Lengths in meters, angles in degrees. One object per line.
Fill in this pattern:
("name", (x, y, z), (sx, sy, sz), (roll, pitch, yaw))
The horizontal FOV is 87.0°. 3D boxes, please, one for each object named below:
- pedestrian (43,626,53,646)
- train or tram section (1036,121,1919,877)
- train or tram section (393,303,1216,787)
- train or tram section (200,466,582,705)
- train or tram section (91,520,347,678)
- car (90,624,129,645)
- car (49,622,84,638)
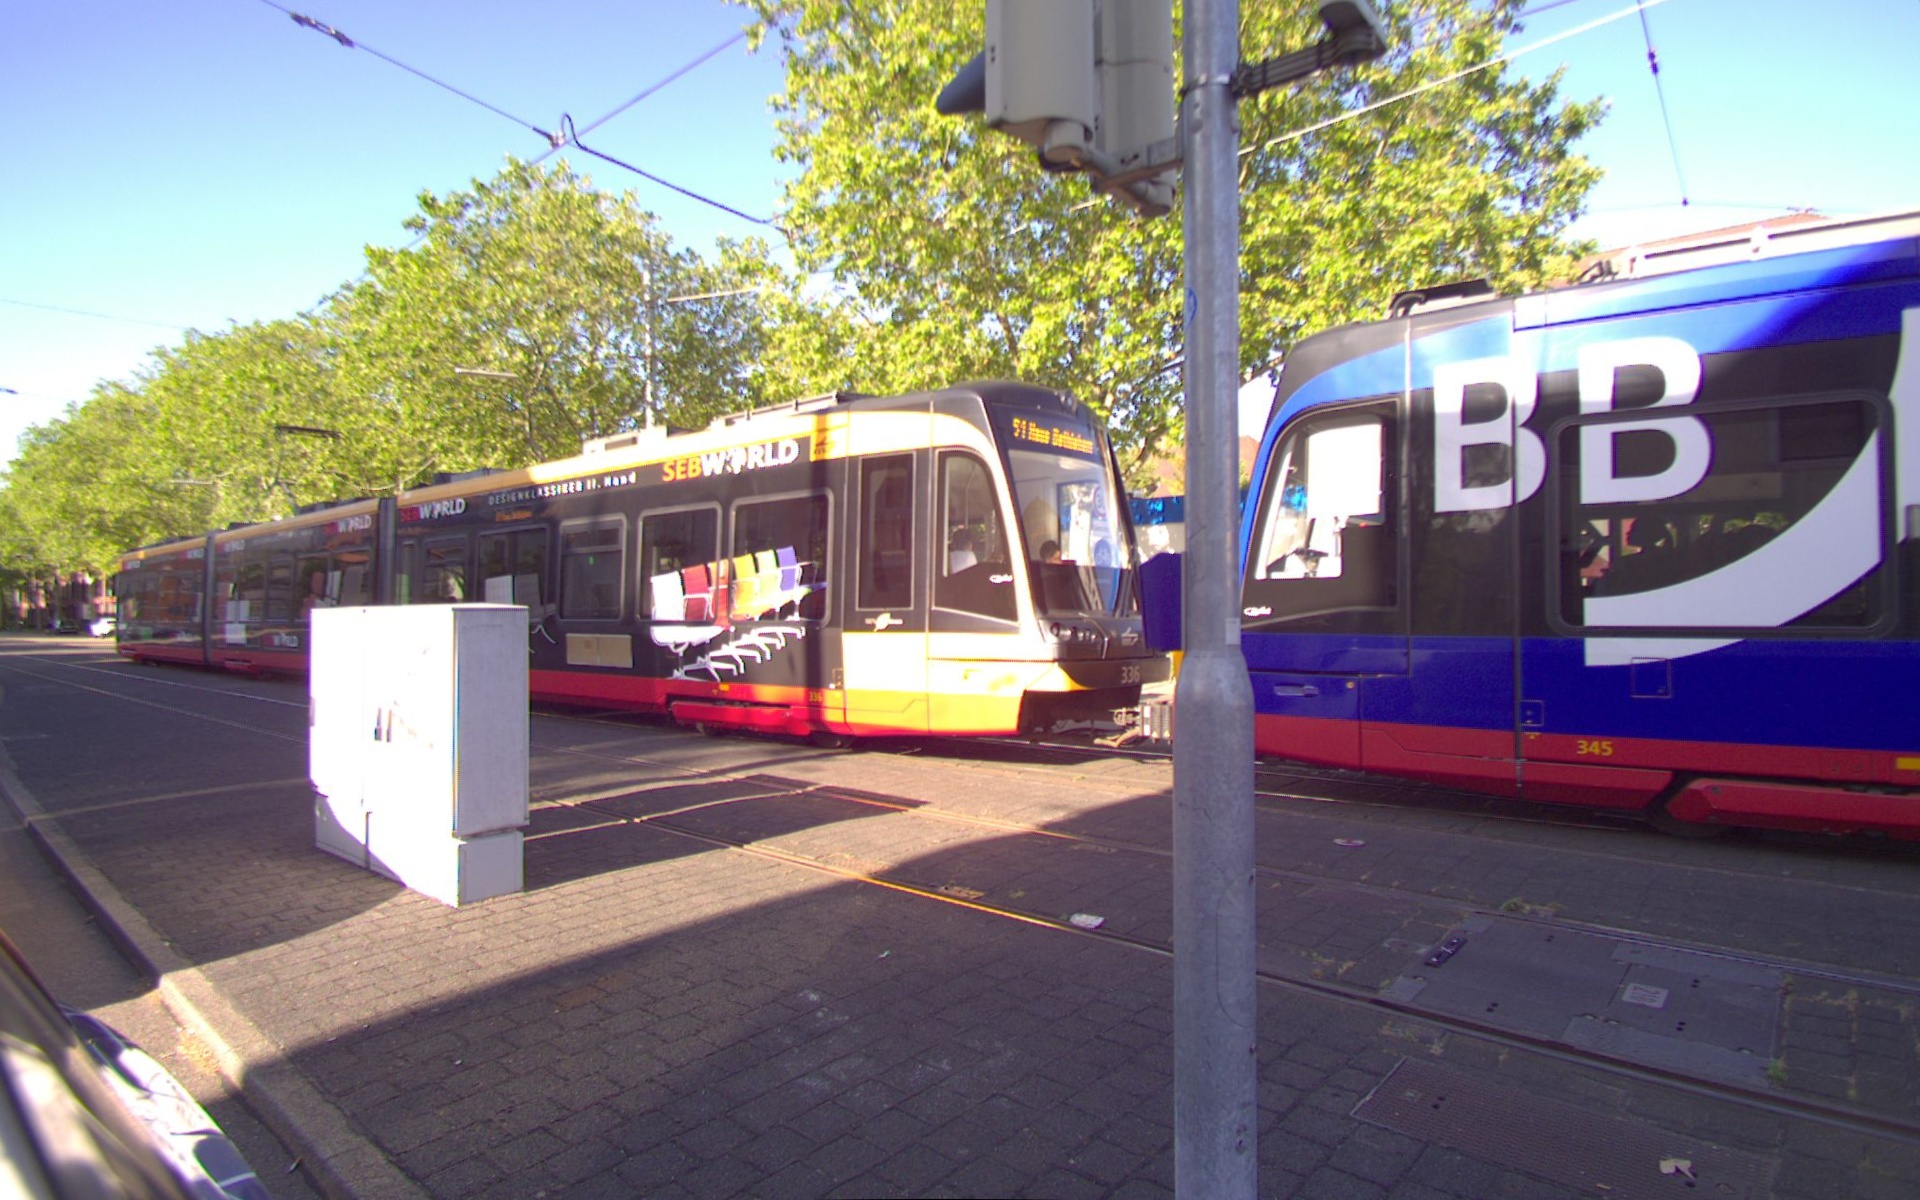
("pedestrian", (-78.047, 3.072, 86.582), (0.677, 1.654, 0.570), (-1, -2, 43))
("train or tram section", (6.432, -0.492, 5.479), (12.079, 3.640, 3.031), (-1, -1, 33))
("train or tram section", (-3.080, -0.307, 12.686), (12.106, 3.640, 3.024), (-1, -1, 40))
("train or tram section", (-12.078, -0.112, 20.544), (11.945, 3.640, 3.023), (-1, -2, 42))
("train or tram section", (-21.425, 0.102, 28.730), (12.881, 3.640, 3.024), (-1, -1, 41))
("car", (-66.882, 2.676, 79.554), (4.000, 1.563, 1.857), (-1, -2, 43))
("car", (-85.080, 2.840, 96.330), (3.995, 1.563, 1.859), (-1, -1, 38))
